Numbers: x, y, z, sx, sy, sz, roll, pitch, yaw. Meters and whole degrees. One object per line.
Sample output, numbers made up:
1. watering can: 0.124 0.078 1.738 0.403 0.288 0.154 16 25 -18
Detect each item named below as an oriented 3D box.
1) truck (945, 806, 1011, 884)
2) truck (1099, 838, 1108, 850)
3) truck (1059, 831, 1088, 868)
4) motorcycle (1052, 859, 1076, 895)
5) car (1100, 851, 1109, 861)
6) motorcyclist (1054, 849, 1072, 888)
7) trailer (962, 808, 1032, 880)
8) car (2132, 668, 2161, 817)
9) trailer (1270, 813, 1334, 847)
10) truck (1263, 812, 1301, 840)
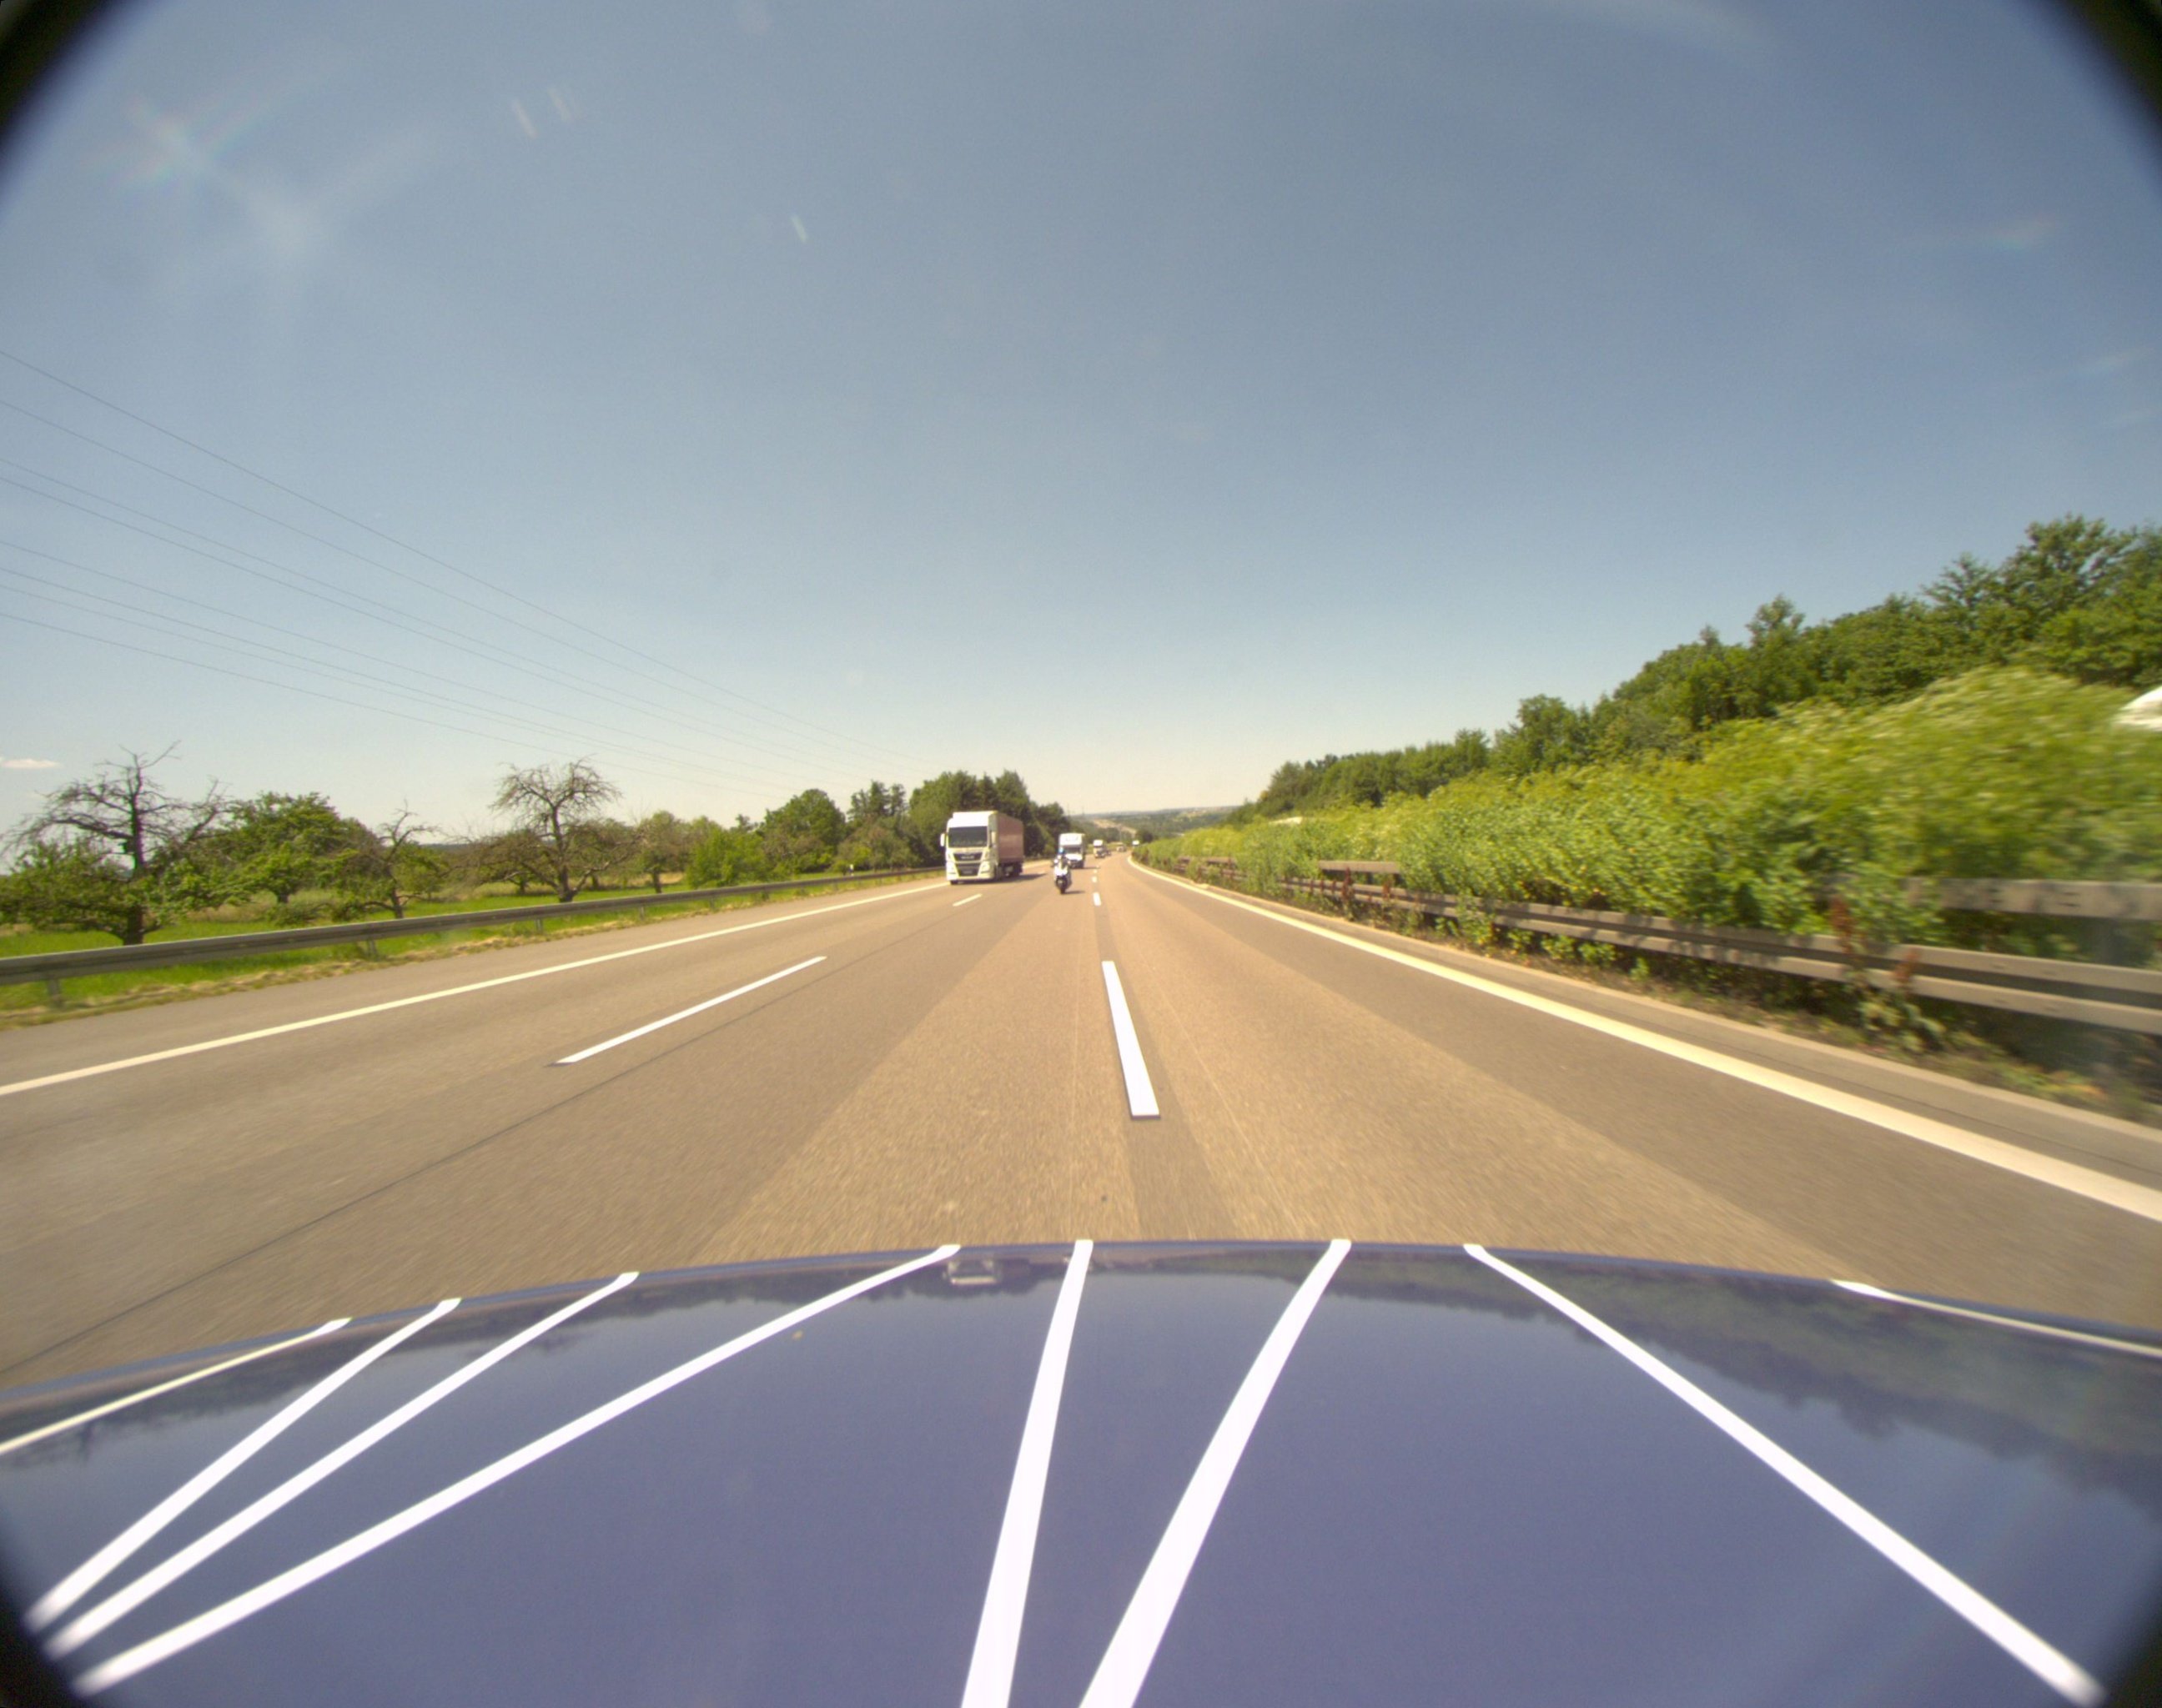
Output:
1. truck: -5.821 -0.525 43.932 2.567 4.130 6.248 -2 1 2
2. truck: 6.441 -2.936 220.329 2.590 3.444 5.962 -2 1 1
3. truck: -0.668 -0.451 72.218 2.513 3.268 8.106 -1 1 1
4. motorcycle: -0.675 0.861 29.283 0.631 1.279 2.311 -3 1 -7
5. car: 4.622 0.415 148.438 1.704 1.958 4.000 -2 1 2
6. motorcyclist: -0.699 0.560 29.429 0.614 1.499 0.513 -2 1 -7
7. trailer: -5.456 -0.688 51.927 2.607 4.239 13.034 -2 1 3
8. car: 19.109 -1.850 10.129 2.576 2.438 5.512 -2 1 -1
9. trailer: 20.563 -2.144 71.526 2.680 2.785 12.313 -2 1 1
10. truck: 20.676 -2.829 78.252 2.695 2.732 4.645 -2 1 1
